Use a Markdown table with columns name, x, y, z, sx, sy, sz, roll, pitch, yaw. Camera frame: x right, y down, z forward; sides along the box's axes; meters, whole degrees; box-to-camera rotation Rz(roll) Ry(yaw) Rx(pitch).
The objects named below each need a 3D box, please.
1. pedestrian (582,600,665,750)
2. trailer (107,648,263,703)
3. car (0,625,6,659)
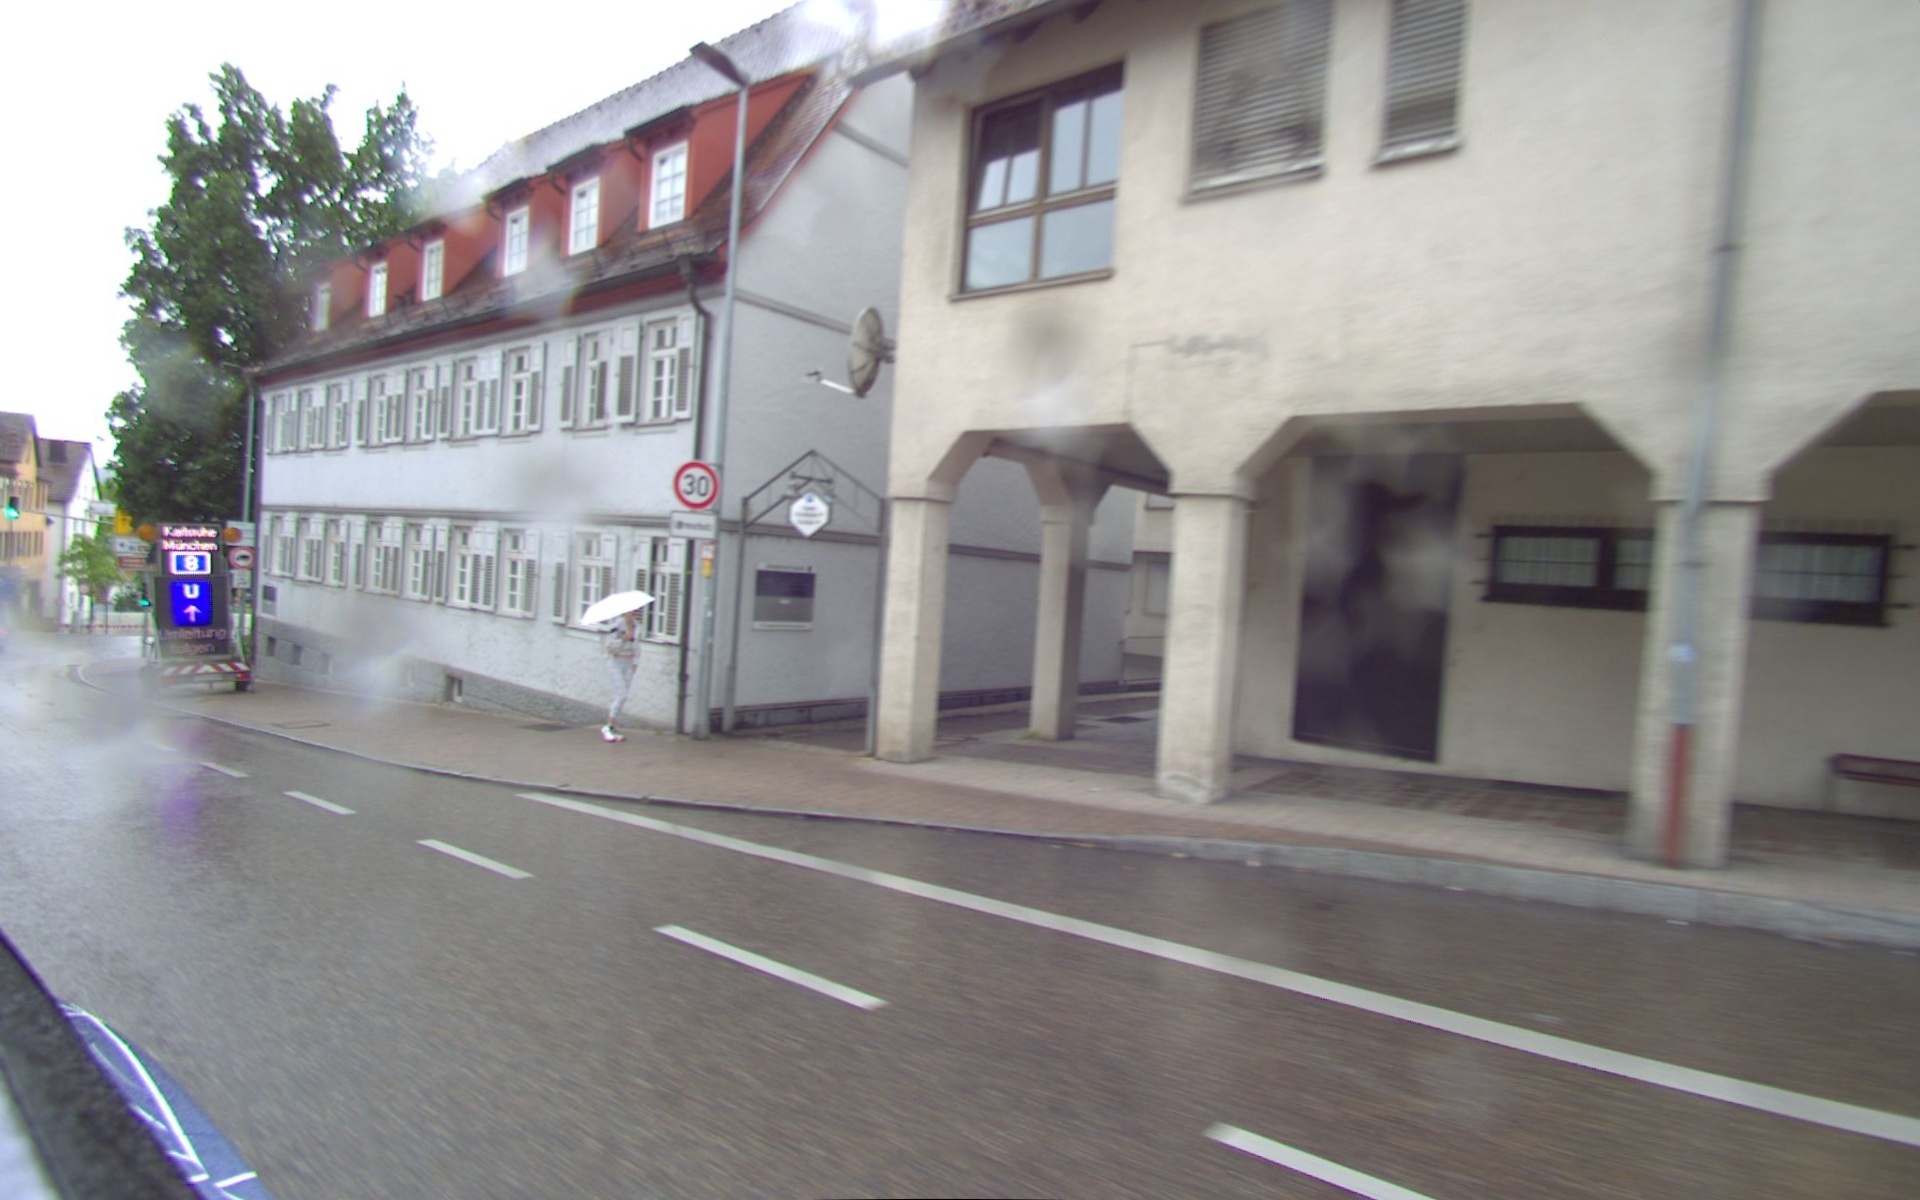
| name | x | y | z | sx | sy | sz | roll | pitch | yaw |
| --- | --- | --- | --- | --- | --- | --- | --- | --- | --- |
| pedestrian | -4.111 | 0.879 | 12.362 | 0.735 | 1.753 | 0.680 | -1 | -1 | 43 |
| trailer | -16.802 | 1.565 | 21.856 | 4.477 | 0.912 | 1.972 | -1 | -1 | 43 |
| car | -43.330 | 1.835 | 44.556 | 3.584 | 1.483 | 1.591 | -2 | -4 | 42 |
